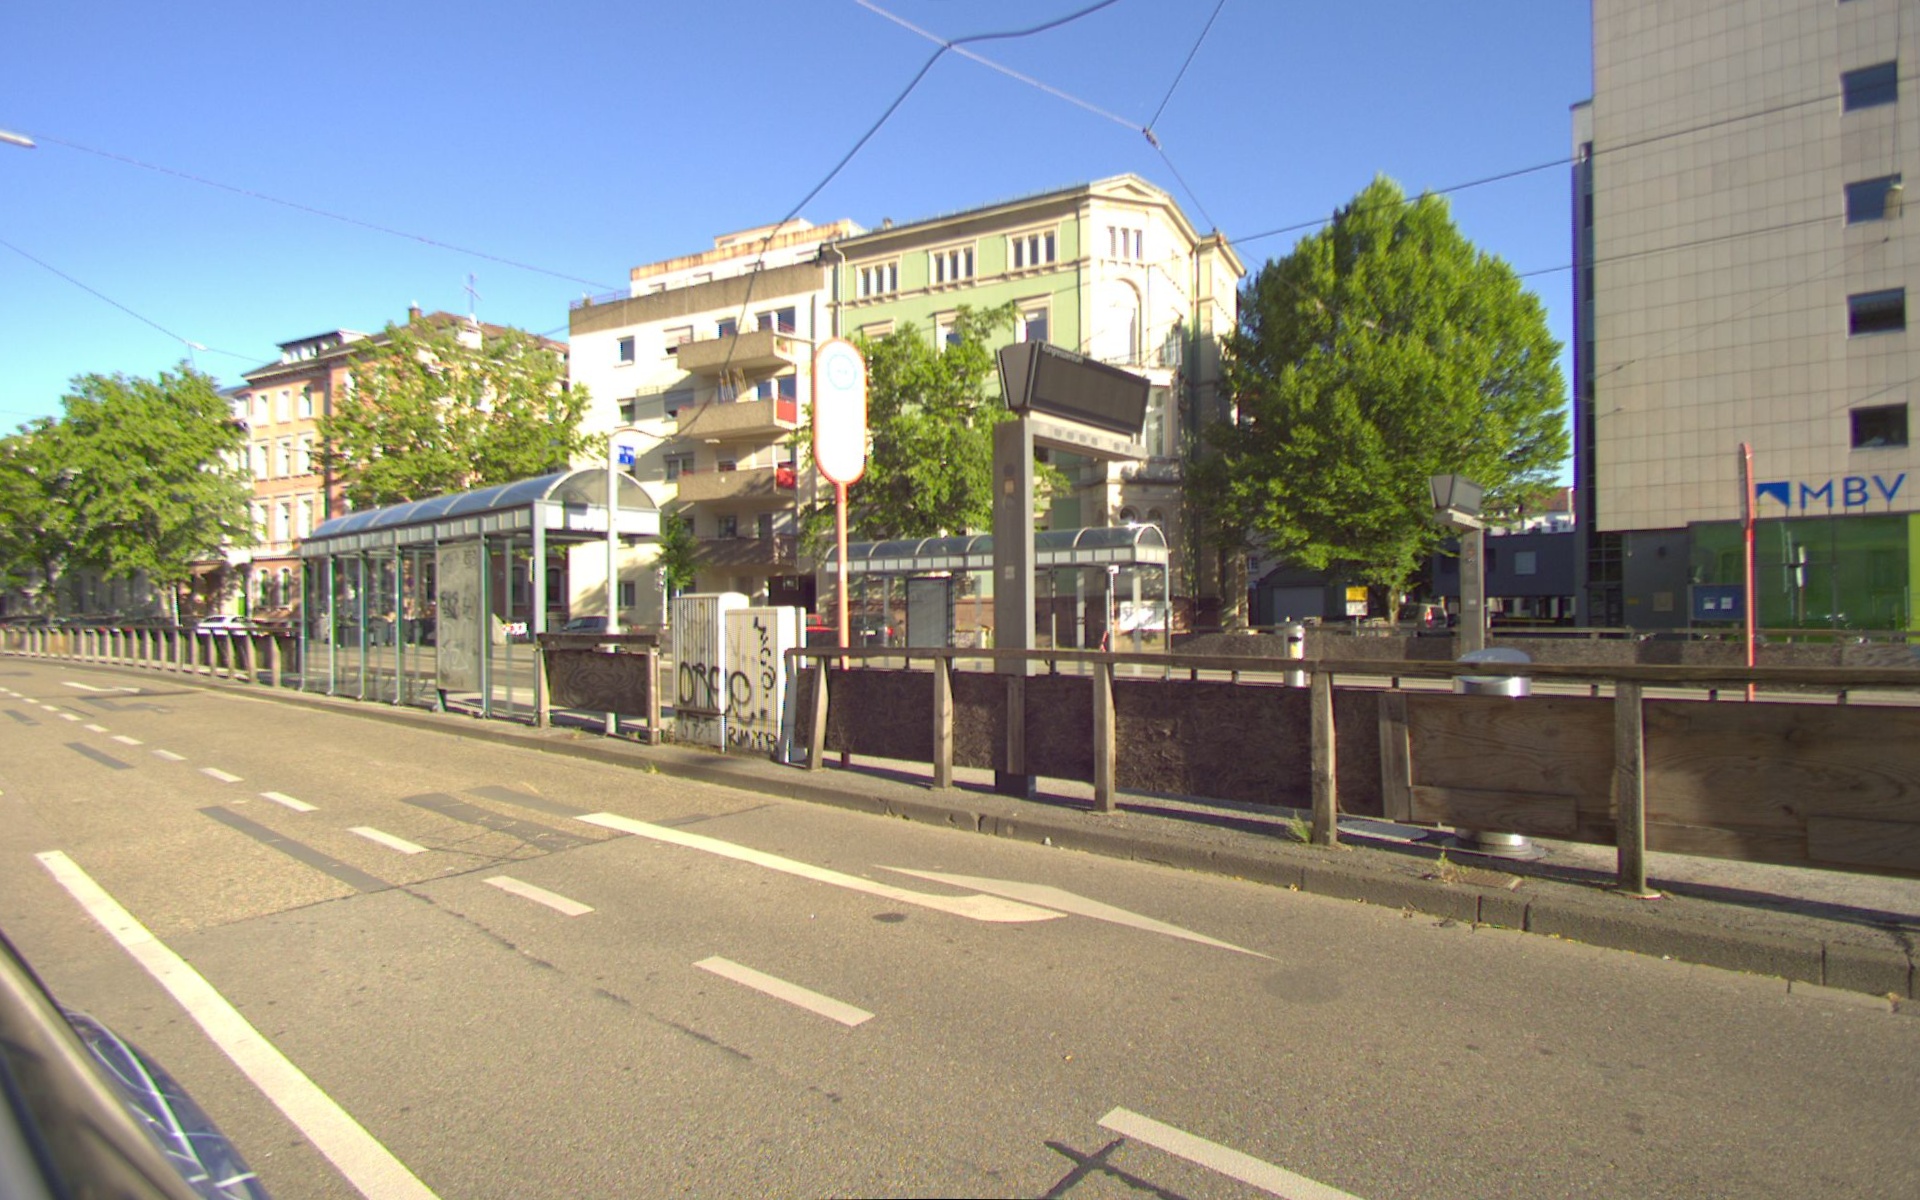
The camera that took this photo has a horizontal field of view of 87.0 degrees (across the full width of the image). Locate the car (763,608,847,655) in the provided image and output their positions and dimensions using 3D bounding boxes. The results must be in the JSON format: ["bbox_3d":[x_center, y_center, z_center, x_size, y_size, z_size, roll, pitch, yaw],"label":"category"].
[{"bbox_3d":[-6.972,1.400,45.907,1.791,2.029,3.963,-1,-1,27],"label":"car"}]

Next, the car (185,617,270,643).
[{"bbox_3d":[-39.201,1.581,54.286,1.565,1.360,3.631,0,-1,11],"label":"car"}]

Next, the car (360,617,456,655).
[{"bbox_3d":[-23.754,1.524,43.532,3.987,1.541,1.978,-1,-2,32],"label":"car"}]

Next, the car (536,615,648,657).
[{"bbox_3d":[-14.088,1.381,38.725,3.987,1.542,1.978,-1,-3,32],"label":"car"}]
